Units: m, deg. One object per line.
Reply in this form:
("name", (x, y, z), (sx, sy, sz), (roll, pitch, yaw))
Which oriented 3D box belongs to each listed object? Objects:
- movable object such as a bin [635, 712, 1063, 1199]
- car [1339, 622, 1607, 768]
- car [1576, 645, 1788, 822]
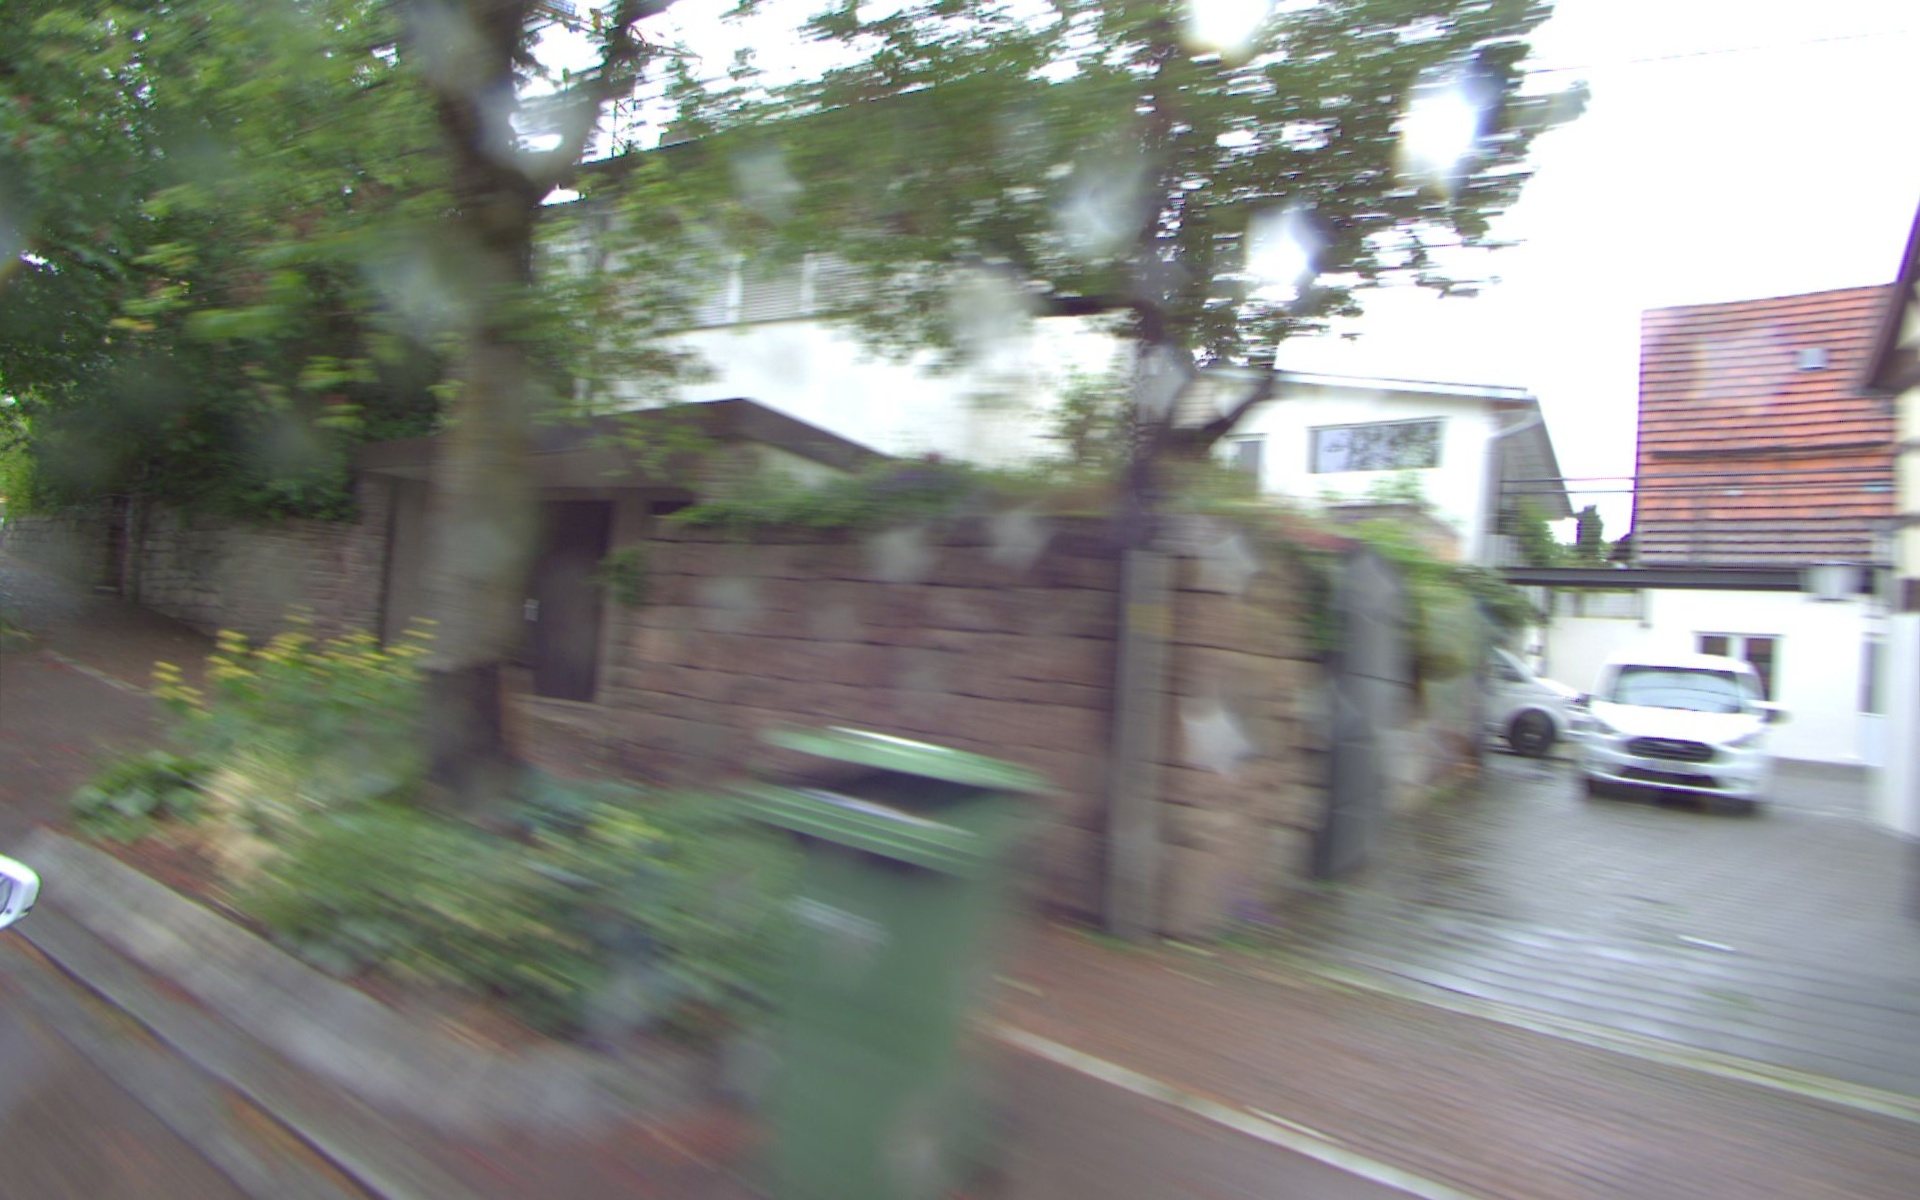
("movable object such as a bin", (-0.253, 0.920, 2.612), (0.691, 1.156, 0.725), (7, -1, 28))
("car", (9.077, 1.620, 18.098), (3.929, 1.994, 1.837), (6, 0, 26))
("car", (9.047, 1.534, 12.774), (1.810, 1.737, 3.986), (4, -1, 34))
